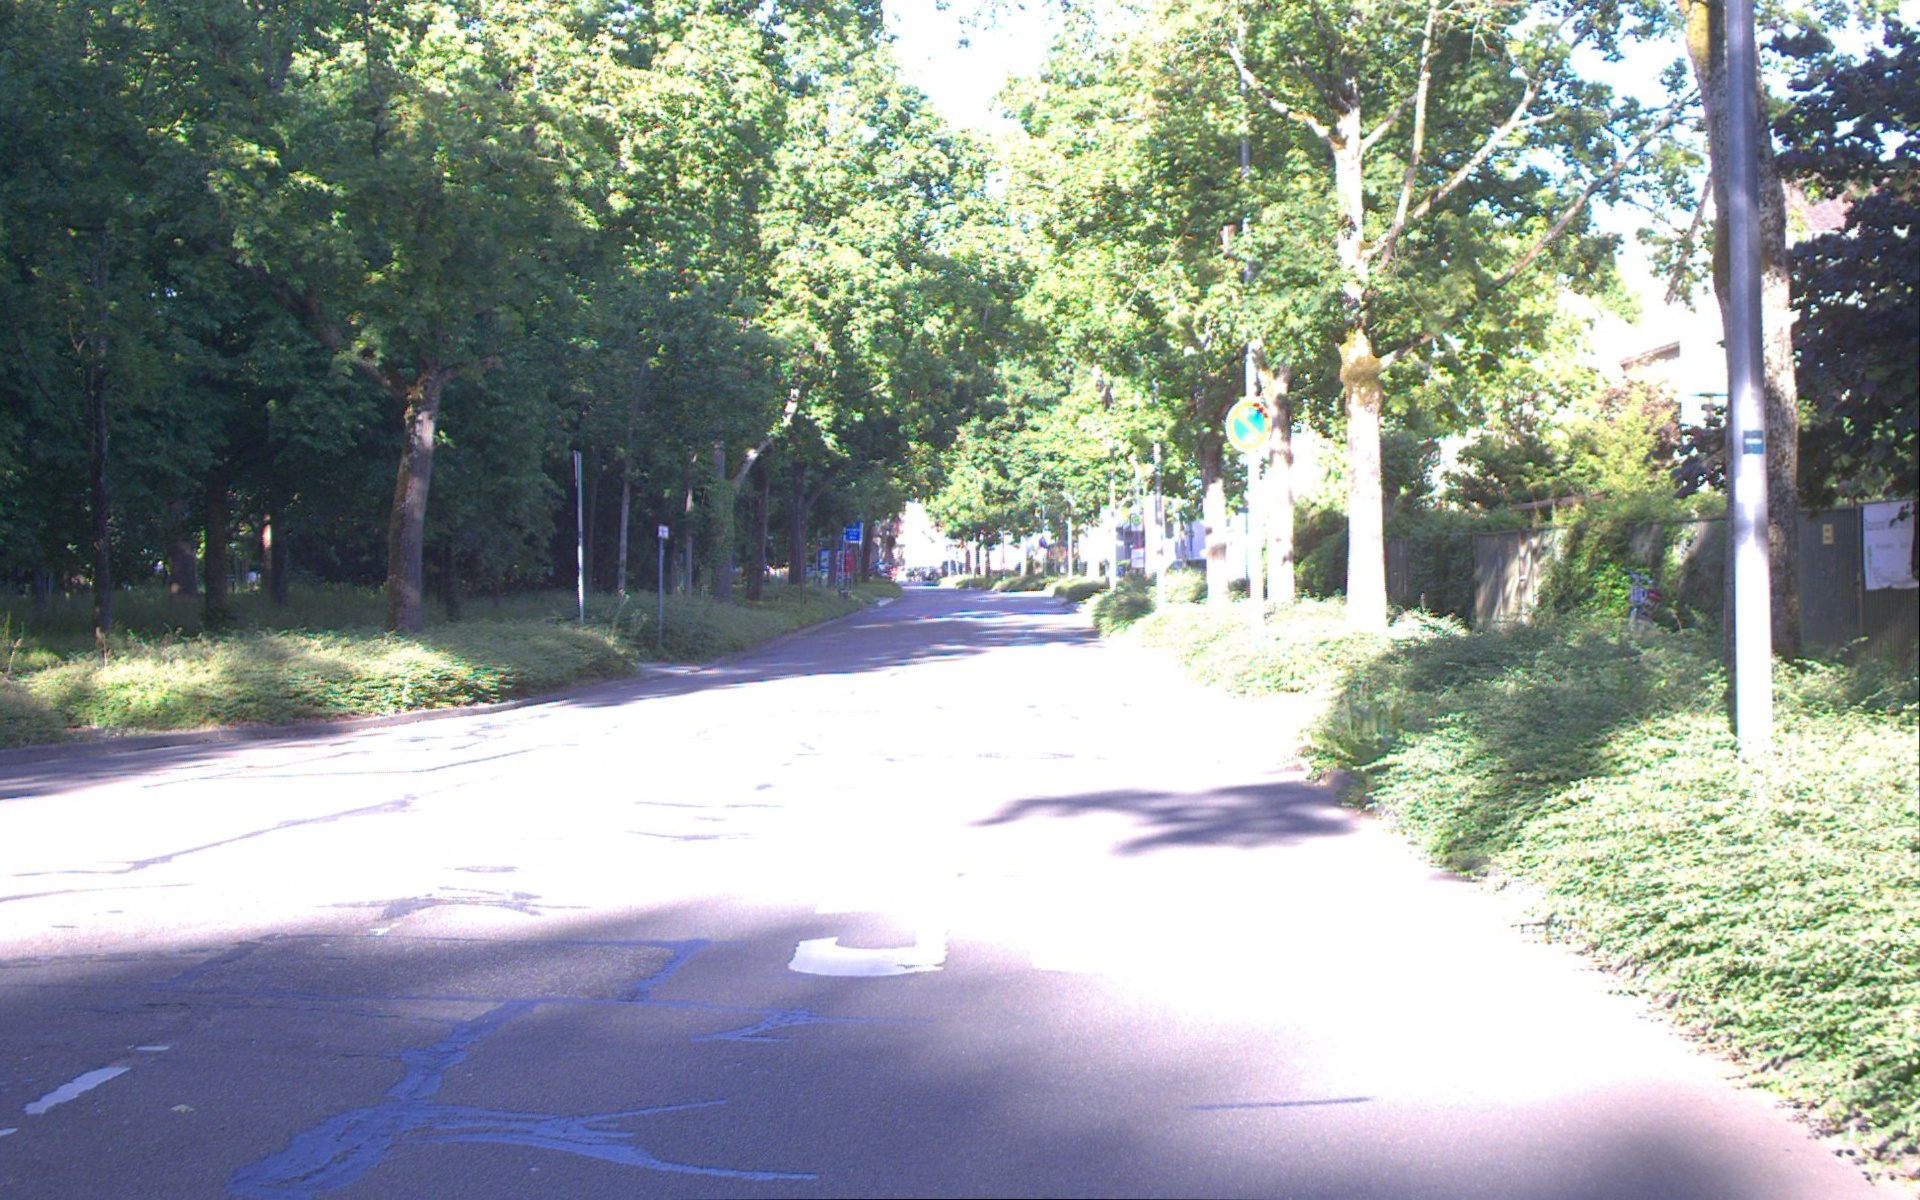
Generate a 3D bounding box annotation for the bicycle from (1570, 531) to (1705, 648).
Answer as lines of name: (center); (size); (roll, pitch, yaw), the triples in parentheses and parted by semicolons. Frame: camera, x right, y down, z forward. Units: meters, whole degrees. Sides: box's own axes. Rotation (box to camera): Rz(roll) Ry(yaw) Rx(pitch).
bicycle: (7.592, -0.133, 38.432); (0.884, 1.196, 2.323); (-3, 1, 26)
